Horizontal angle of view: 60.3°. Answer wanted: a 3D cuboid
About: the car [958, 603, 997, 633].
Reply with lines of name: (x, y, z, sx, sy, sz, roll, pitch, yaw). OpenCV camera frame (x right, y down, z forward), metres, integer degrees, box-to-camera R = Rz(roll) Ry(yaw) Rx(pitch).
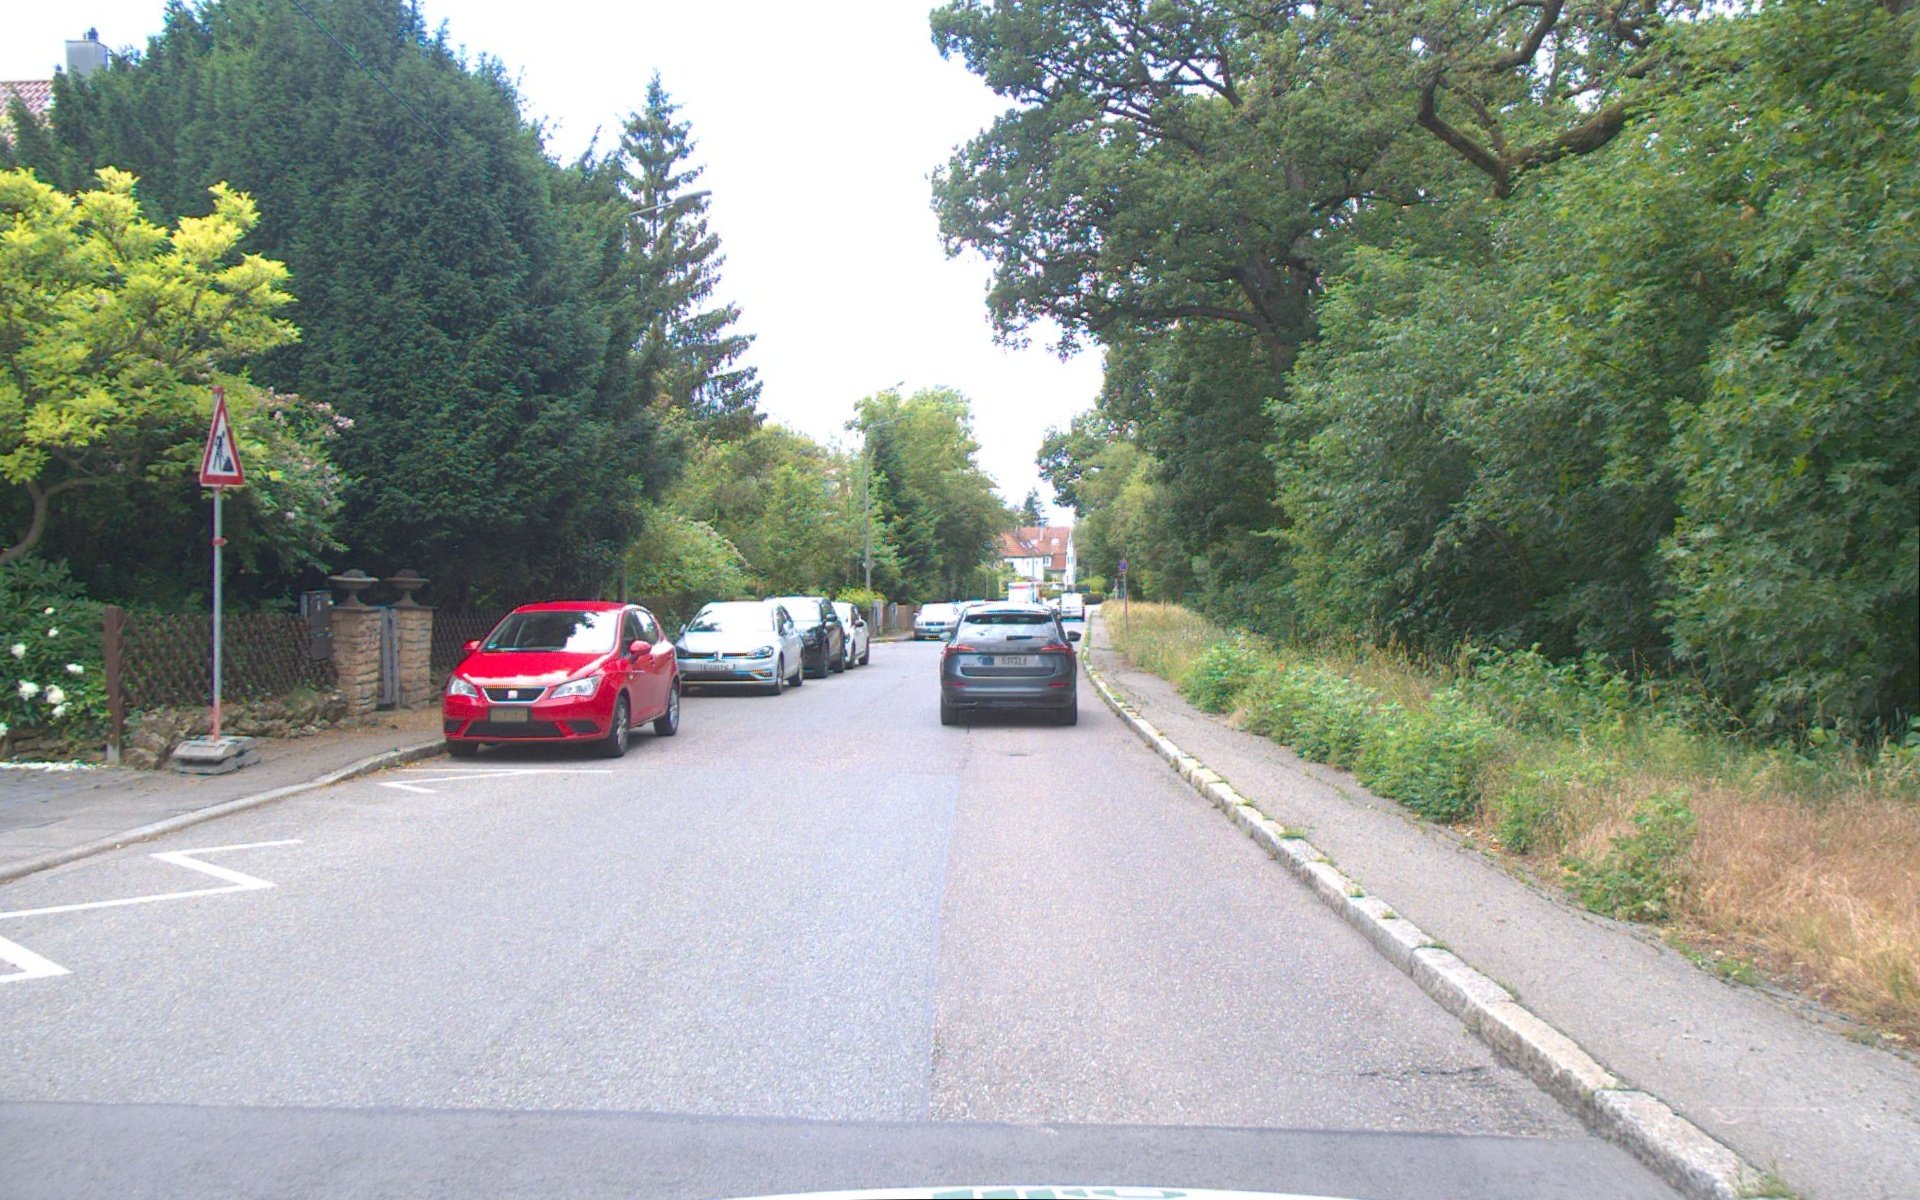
car: (0.899, 0.909, 84.474, 1.712, 1.429, 4.002, 1, 0, 4)

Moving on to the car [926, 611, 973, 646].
car: (-0.427, 1.205, 71.556, 1.712, 1.429, 4.002, 1, 0, 4)

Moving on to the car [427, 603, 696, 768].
car: (-3.868, 0.766, 16.725, 1.601, 1.429, 4.001, 1, 0, 2)

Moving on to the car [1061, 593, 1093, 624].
car: (8.481, 0.581, 120.308, 2.159, 2.099, 6.137, 0, 1, 3)

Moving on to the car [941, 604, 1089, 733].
car: (0.624, 0.814, 21.511, 1.699, 1.472, 4.179, 1, 0, -1)

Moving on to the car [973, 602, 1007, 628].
car: (1.744, 0.869, 95.172, 1.712, 1.429, 4.002, 1, 0, 4)

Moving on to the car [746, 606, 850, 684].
car: (-3.178, 0.850, 33.096, 1.713, 1.429, 3.999, 1, 0, -1)

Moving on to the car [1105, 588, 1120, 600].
car: (19.077, -0.716, 206.717, 1.698, 1.472, 4.001, 1, 0, 2)

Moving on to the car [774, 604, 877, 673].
car: (-2.995, 0.835, 37.509, 1.712, 1.429, 4.002, 1, 0, 4)

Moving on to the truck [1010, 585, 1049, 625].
truck: (5.324, 0.330, 125.570, 2.705, 2.842, 9.273, 0, 1, 4)

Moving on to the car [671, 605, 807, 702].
car: (-3.548, 0.821, 27.149, 1.713, 1.429, 3.999, 1, 0, -1)

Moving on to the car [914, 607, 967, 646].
car: (-0.741, 1.021, 65.245, 1.712, 1.429, 4.002, 1, 0, 4)
